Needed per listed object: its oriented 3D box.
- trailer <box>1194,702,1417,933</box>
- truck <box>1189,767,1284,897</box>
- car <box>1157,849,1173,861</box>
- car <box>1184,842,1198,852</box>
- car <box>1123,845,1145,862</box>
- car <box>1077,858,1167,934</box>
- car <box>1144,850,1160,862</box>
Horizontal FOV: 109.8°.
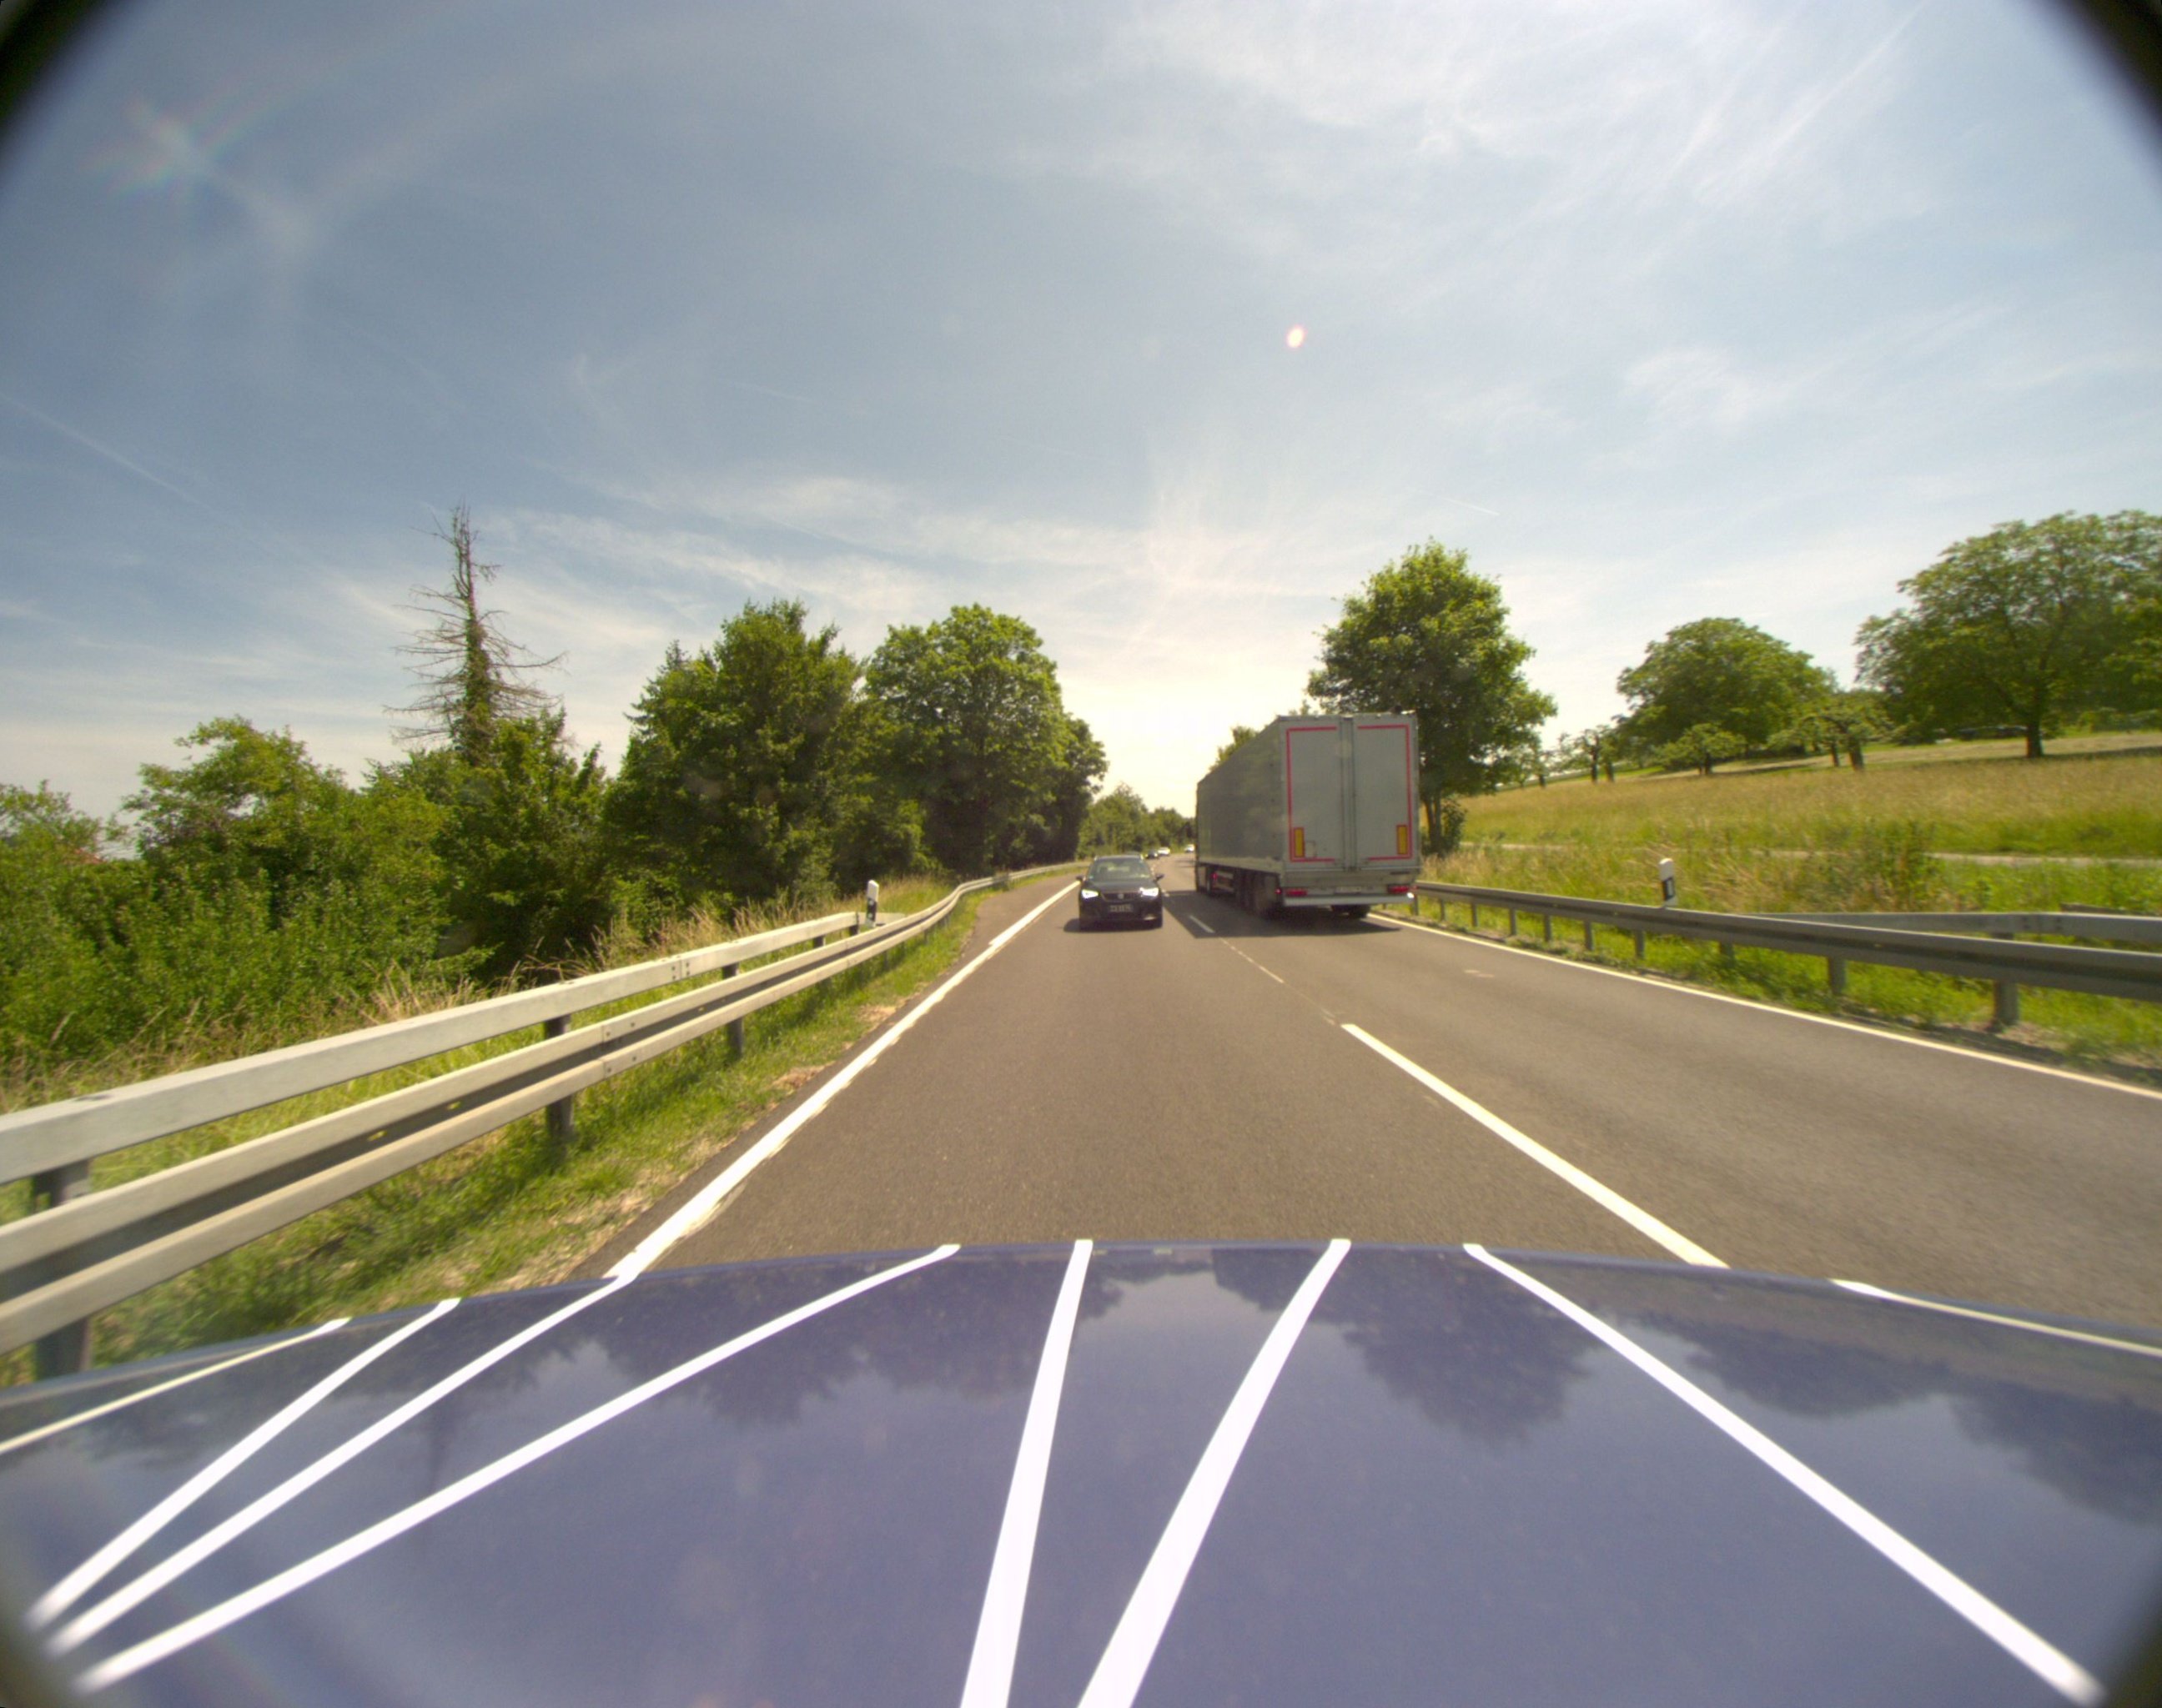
[{"bbox_3d":[5.147,-0.676,20.887,2.451,4.160,14.016,-1,0,2],"label":"trailer"},{"bbox_3d":[5.442,-0.715,27.420,2.451,4.170,5.649,-1,0,3],"label":"truck"},{"bbox_3d":[14.382,0.150,129.868,1.996,2.002,4.004,-1,0,15],"label":"car"},{"bbox_3d":[22.837,-1.489,157.774,1.996,2.002,4.005,-2,1,20],"label":"car"},{"bbox_3d":[5.560,-0.092,79.378,1.882,1.698,4.003,-1,0,10],"label":"car"},{"bbox_3d":[0.960,0.848,17.014,1.737,1.467,4.001,-1,0,4],"label":"car"},{"bbox_3d":[10.076,0.287,107.711,1.882,1.698,4.004,-1,0,12],"label":"car"}]
